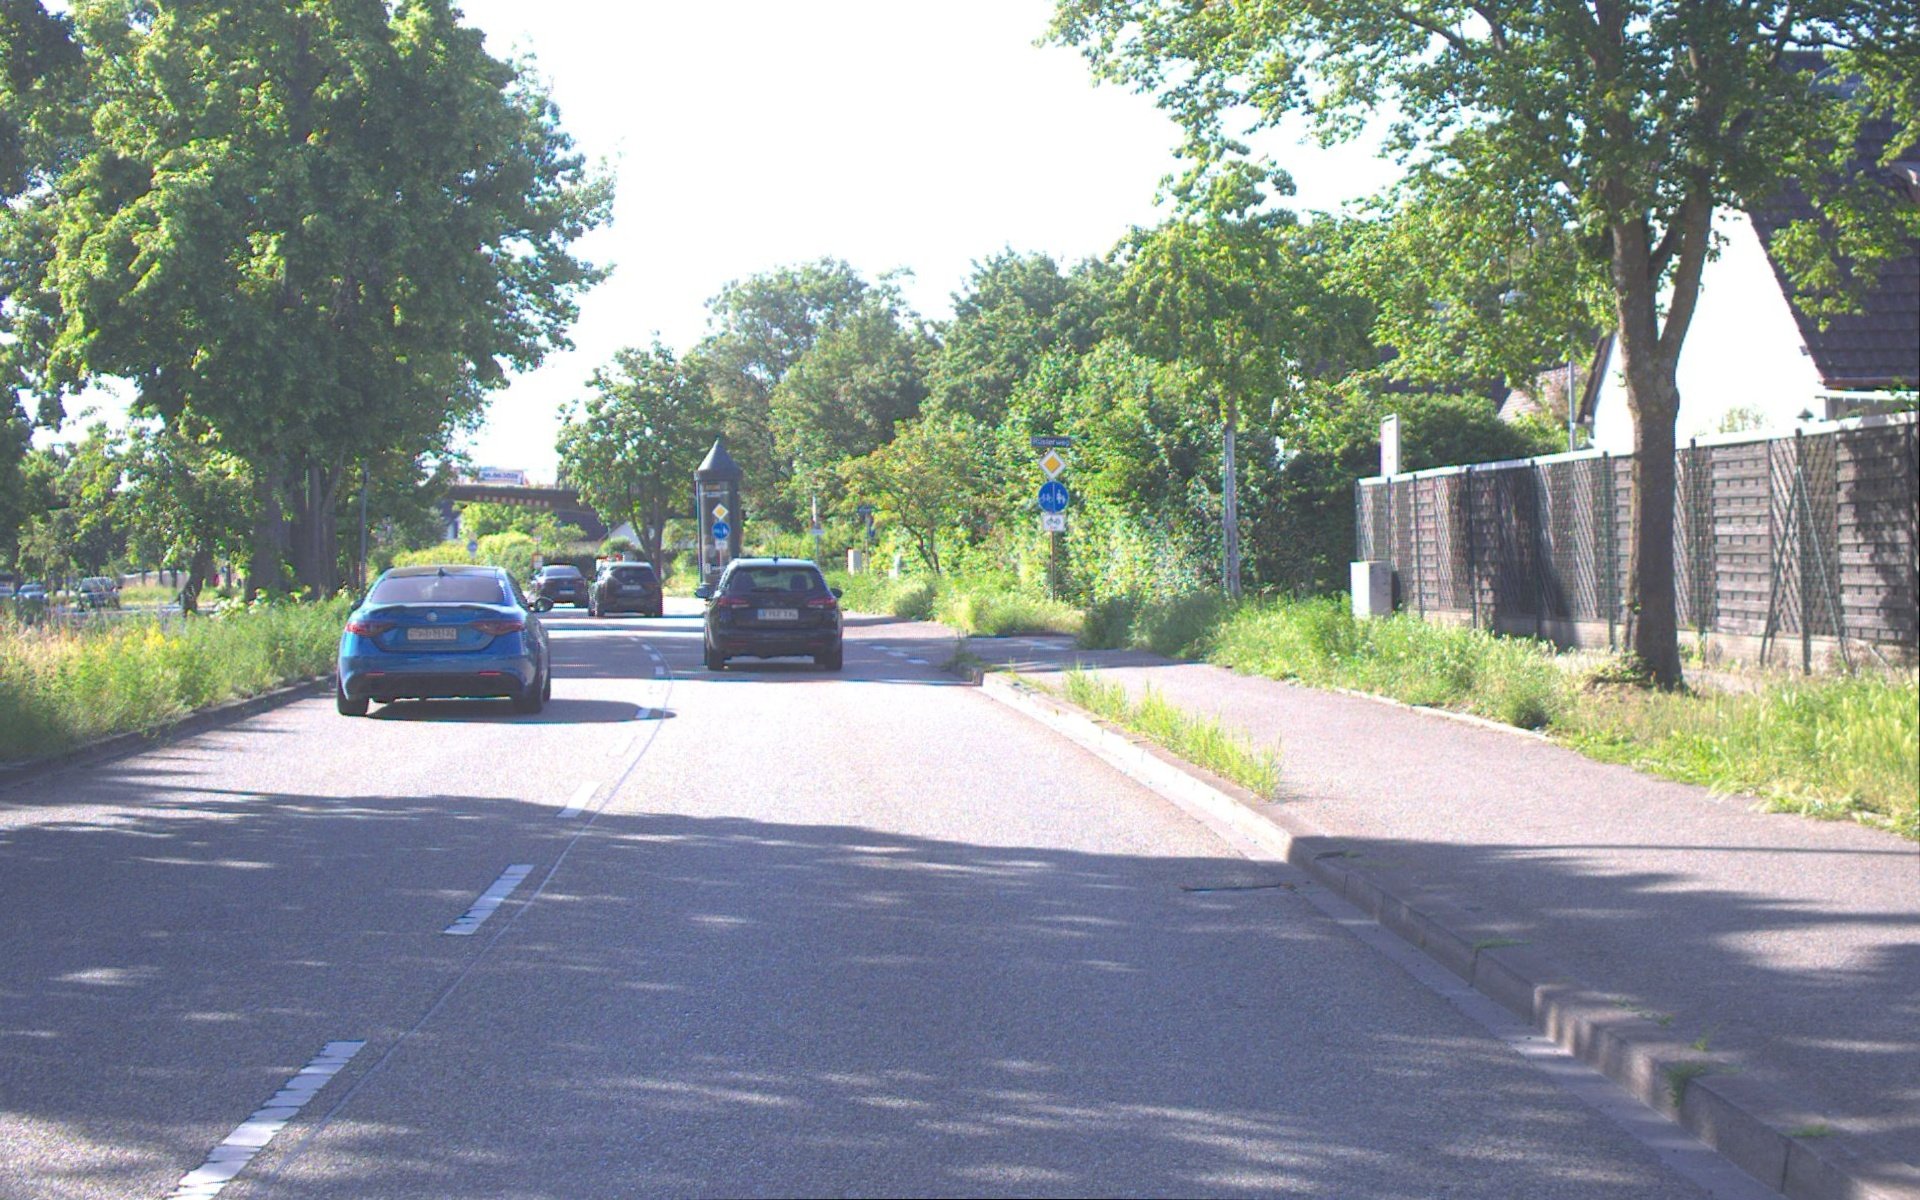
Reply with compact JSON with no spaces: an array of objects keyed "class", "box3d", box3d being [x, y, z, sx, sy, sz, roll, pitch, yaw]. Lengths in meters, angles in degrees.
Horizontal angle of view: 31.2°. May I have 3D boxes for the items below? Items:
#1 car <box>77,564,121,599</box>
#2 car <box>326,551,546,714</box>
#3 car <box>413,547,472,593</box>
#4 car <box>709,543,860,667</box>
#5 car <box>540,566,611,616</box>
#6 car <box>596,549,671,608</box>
[{"class":"car","box3d":[-36.810,-0.815,147.016,1.669,1.462,3.783,-1,1,-12]},{"class":"car","box3d":[-5.042,0.263,33.539,1.838,1.469,4.185,-1,1,-5]},{"class":"car","box3d":[-17.431,-1.020,115.710,1.915,1.507,4.069,-1,1,-9]},{"class":"car","box3d":[-2.390,0.030,46.059,1.915,1.574,4.183,-1,1,-4]},{"class":"car","box3d":[-13.230,-0.315,118.270,1.915,1.672,4.014,0,1,-14]},{"class":"car","box3d":[-8.929,-0.593,93.827,1.915,1.574,4.183,0,1,-7]}]
